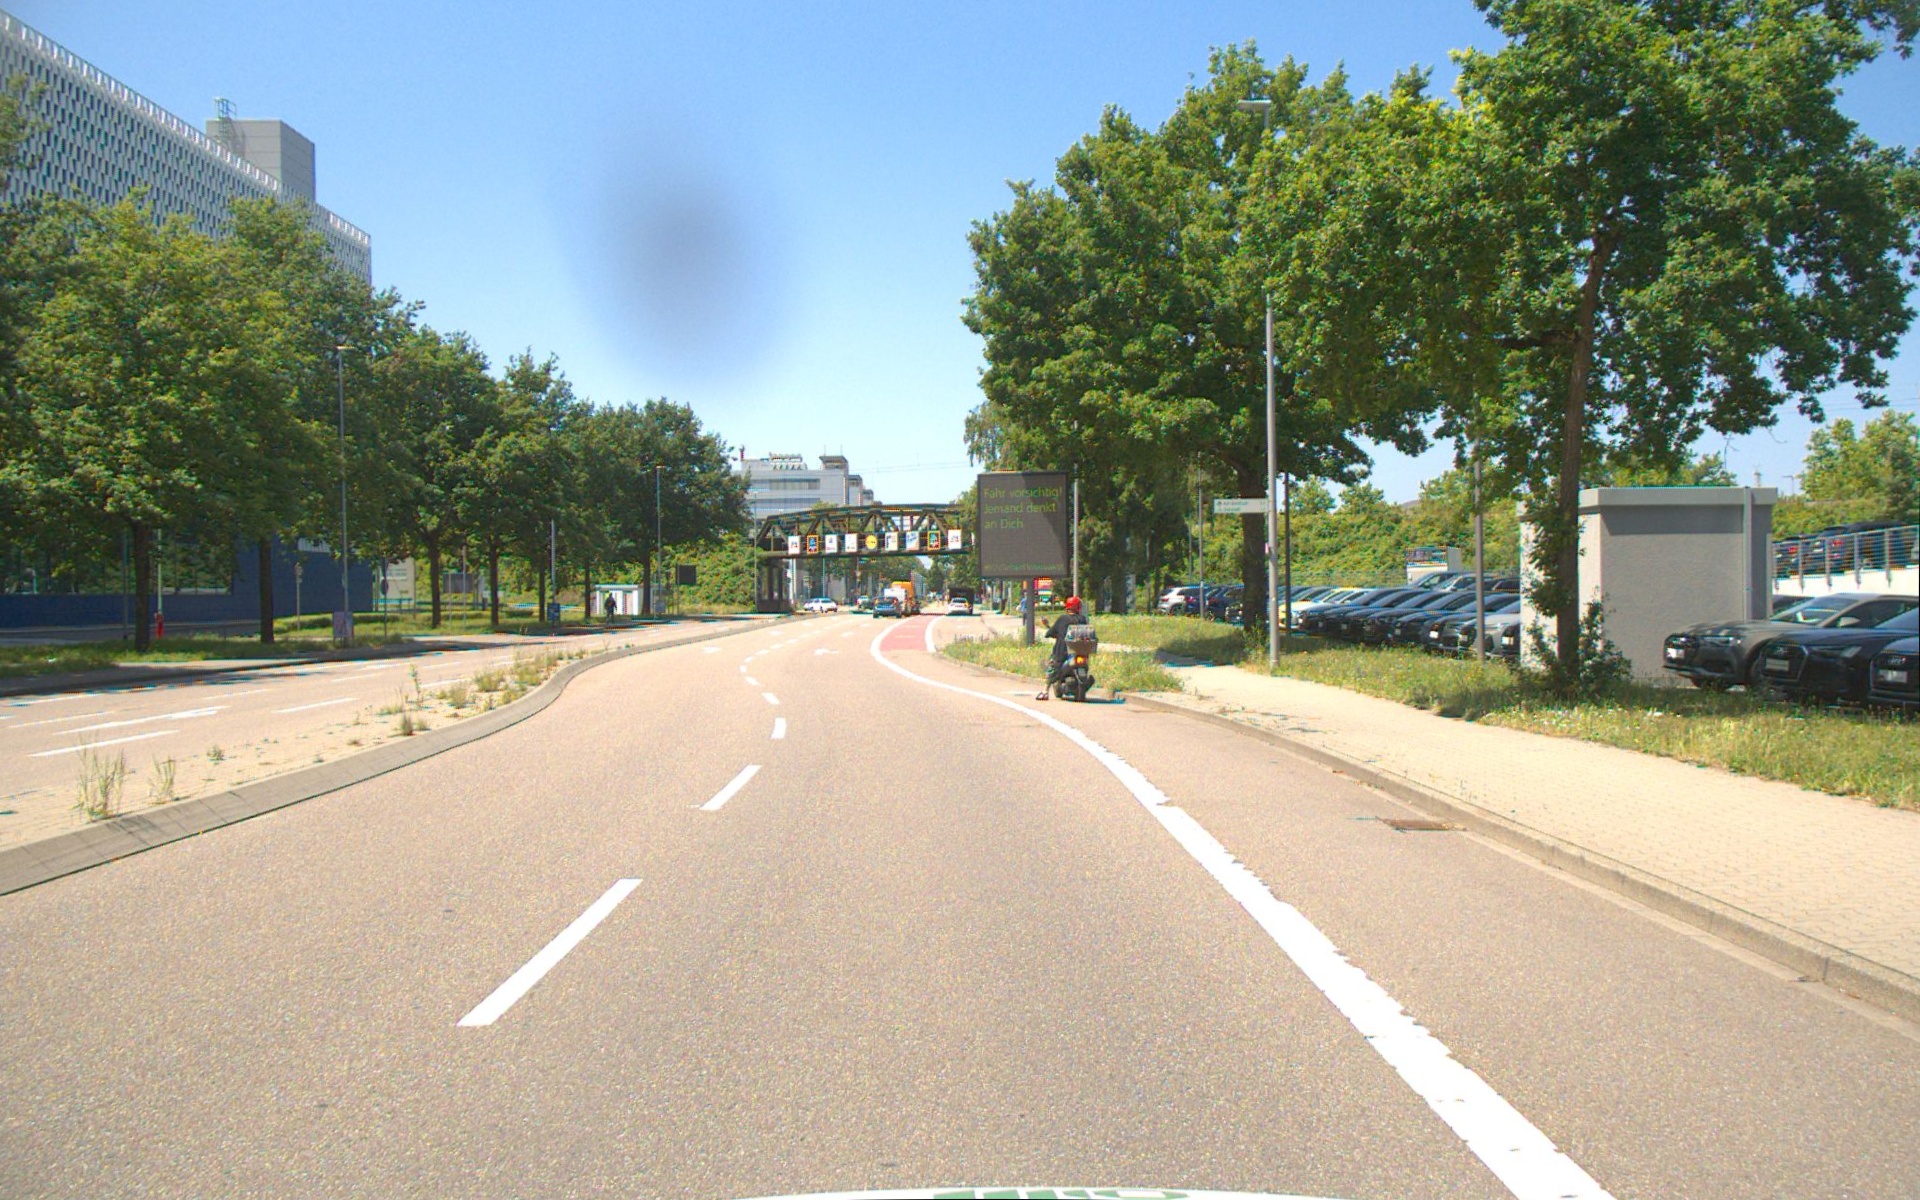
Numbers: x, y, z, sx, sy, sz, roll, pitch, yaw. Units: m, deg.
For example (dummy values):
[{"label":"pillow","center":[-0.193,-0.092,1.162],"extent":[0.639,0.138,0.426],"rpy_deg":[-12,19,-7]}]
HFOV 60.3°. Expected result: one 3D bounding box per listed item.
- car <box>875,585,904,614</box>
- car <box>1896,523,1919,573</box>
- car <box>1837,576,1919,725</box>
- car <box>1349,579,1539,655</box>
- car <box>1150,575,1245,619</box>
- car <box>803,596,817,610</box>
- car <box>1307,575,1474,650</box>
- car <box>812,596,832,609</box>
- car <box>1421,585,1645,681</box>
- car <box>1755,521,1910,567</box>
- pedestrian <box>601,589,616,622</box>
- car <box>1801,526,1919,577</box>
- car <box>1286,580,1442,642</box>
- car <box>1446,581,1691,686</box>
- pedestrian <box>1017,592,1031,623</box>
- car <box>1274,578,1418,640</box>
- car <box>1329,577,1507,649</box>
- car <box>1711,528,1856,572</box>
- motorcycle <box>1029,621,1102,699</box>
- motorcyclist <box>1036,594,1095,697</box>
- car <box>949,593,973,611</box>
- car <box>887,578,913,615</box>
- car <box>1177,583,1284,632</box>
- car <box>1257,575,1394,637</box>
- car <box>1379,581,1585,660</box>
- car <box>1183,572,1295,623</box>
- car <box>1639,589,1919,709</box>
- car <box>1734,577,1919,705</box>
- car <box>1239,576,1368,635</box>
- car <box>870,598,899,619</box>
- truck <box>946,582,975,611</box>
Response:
[{"label":"car","center":[-5.038,-0.041,118.586],"extent":[1.953,2.049,3.999],"rpy_deg":[1,0,-1]},{"label":"car","center":[26.912,-1.343,43.700],"extent":[3.455,1.261,1.675],"rpy_deg":[1,0,-5]},{"label":"car","center":[11.624,0.618,17.011],"extent":[4.135,1.477,1.917],"rpy_deg":[3,0,-1]},{"label":"car","center":[11.505,0.390,39.462],"extent":[3.910,1.464,1.796],"rpy_deg":[5,0,-5]},{"label":"car","center":[10.554,-0.145,73.622],"extent":[3.786,1.632,1.796],"rpy_deg":[5,0,-5]},{"label":"car","center":[-20.195,0.376,222.377],"extent":[1.681,1.763,3.804],"rpy_deg":[0,0,-3]},{"label":"car","center":[11.563,0.328,44.586],"extent":[3.910,1.652,1.796],"rpy_deg":[5,0,-5]},{"label":"car","center":[-14.697,0.262,175.705],"extent":[1.955,1.400,3.994],"rpy_deg":[-1,0,-7]},{"label":"car","center":[11.601,0.653,33.632],"extent":[3.841,1.609,1.796],"rpy_deg":[5,0,-5]},{"label":"car","center":[27.053,-1.735,51.328],"extent":[3.909,1.334,1.796],"rpy_deg":[-1,0,-5]},{"label":"pedestrian","center":[-20.620,0.313,97.151],"extent":[0.728,1.917,0.577],"rpy_deg":[-1,0,0]},{"label":"car","center":[27.134,-1.414,48.646],"extent":[3.909,1.334,1.796],"rpy_deg":[1,0,-5]},{"label":"car","center":[11.535,0.309,47.383],"extent":[3.910,1.447,1.796],"rpy_deg":[5,0,-5]},{"label":"car","center":[11.525,0.625,31.494],"extent":[3.910,1.646,1.796],"rpy_deg":[5,0,-5]},{"label":"pedestrian","center":[2.966,0.351,76.384],"extent":[0.611,1.398,0.564],"rpy_deg":[0,0,-2]},{"label":"car","center":[11.650,0.271,50.056],"extent":[3.786,1.528,1.796],"rpy_deg":[5,0,-5]},{"label":"car","center":[11.576,0.329,41.932],"extent":[3.910,1.464,1.796],"rpy_deg":[5,0,-5]},{"label":"car","center":[27.010,-1.625,54.338],"extent":[3.909,1.334,1.796],"rpy_deg":[-1,0,-5]},{"label":"motorcycle","center":[1.603,0.907,25.470],"extent":[0.703,1.124,1.826],"rpy_deg":[1,0,-10]},{"label":"motorcyclist","center":[1.613,0.691,25.434],"extent":[0.706,1.556,0.869],"rpy_deg":[1,0,-10]},{"label":"car","center":[0.037,0.138,136.286],"extent":[1.885,1.445,3.999],"rpy_deg":[0,0,-1]},{"label":"car","center":[-4.889,-0.286,135.945],"extent":[2.031,2.904,6.763],"rpy_deg":[-1,0,-1]},{"label":"car","center":[10.729,0.304,65.667],"extent":[3.786,1.632,1.796],"rpy_deg":[5,0,-5]},{"label":"car","center":[11.581,0.199,52.524],"extent":[3.786,1.632,1.796],"rpy_deg":[5,0,-5]},{"label":"car","center":[11.539,0.452,36.685],"extent":[3.910,1.401,1.796],"rpy_deg":[5,0,-5]},{"label":"car","center":[10.576,-0.093,62.888],"extent":[3.786,1.632,1.796],"rpy_deg":[5,0,-5]},{"label":"car","center":[11.520,0.655,22.018],"extent":[4.135,1.365,1.917],"rpy_deg":[3,0,-1]},{"label":"car","center":[11.653,0.537,19.484],"extent":[4.135,1.365,1.917],"rpy_deg":[3,0,-1]},{"label":"car","center":[11.395,0.177,55.011],"extent":[3.786,1.632,1.796],"rpy_deg":[5,0,-5]},{"label":"car","center":[-5.029,0.554,110.765],"extent":[1.862,1.400,4.230],"rpy_deg":[-1,0,-1]},{"label":"truck","center":[0.031,-0.307,145.630],"extent":[2.408,2.452,7.133],"rpy_deg":[1,0,-1]}]
